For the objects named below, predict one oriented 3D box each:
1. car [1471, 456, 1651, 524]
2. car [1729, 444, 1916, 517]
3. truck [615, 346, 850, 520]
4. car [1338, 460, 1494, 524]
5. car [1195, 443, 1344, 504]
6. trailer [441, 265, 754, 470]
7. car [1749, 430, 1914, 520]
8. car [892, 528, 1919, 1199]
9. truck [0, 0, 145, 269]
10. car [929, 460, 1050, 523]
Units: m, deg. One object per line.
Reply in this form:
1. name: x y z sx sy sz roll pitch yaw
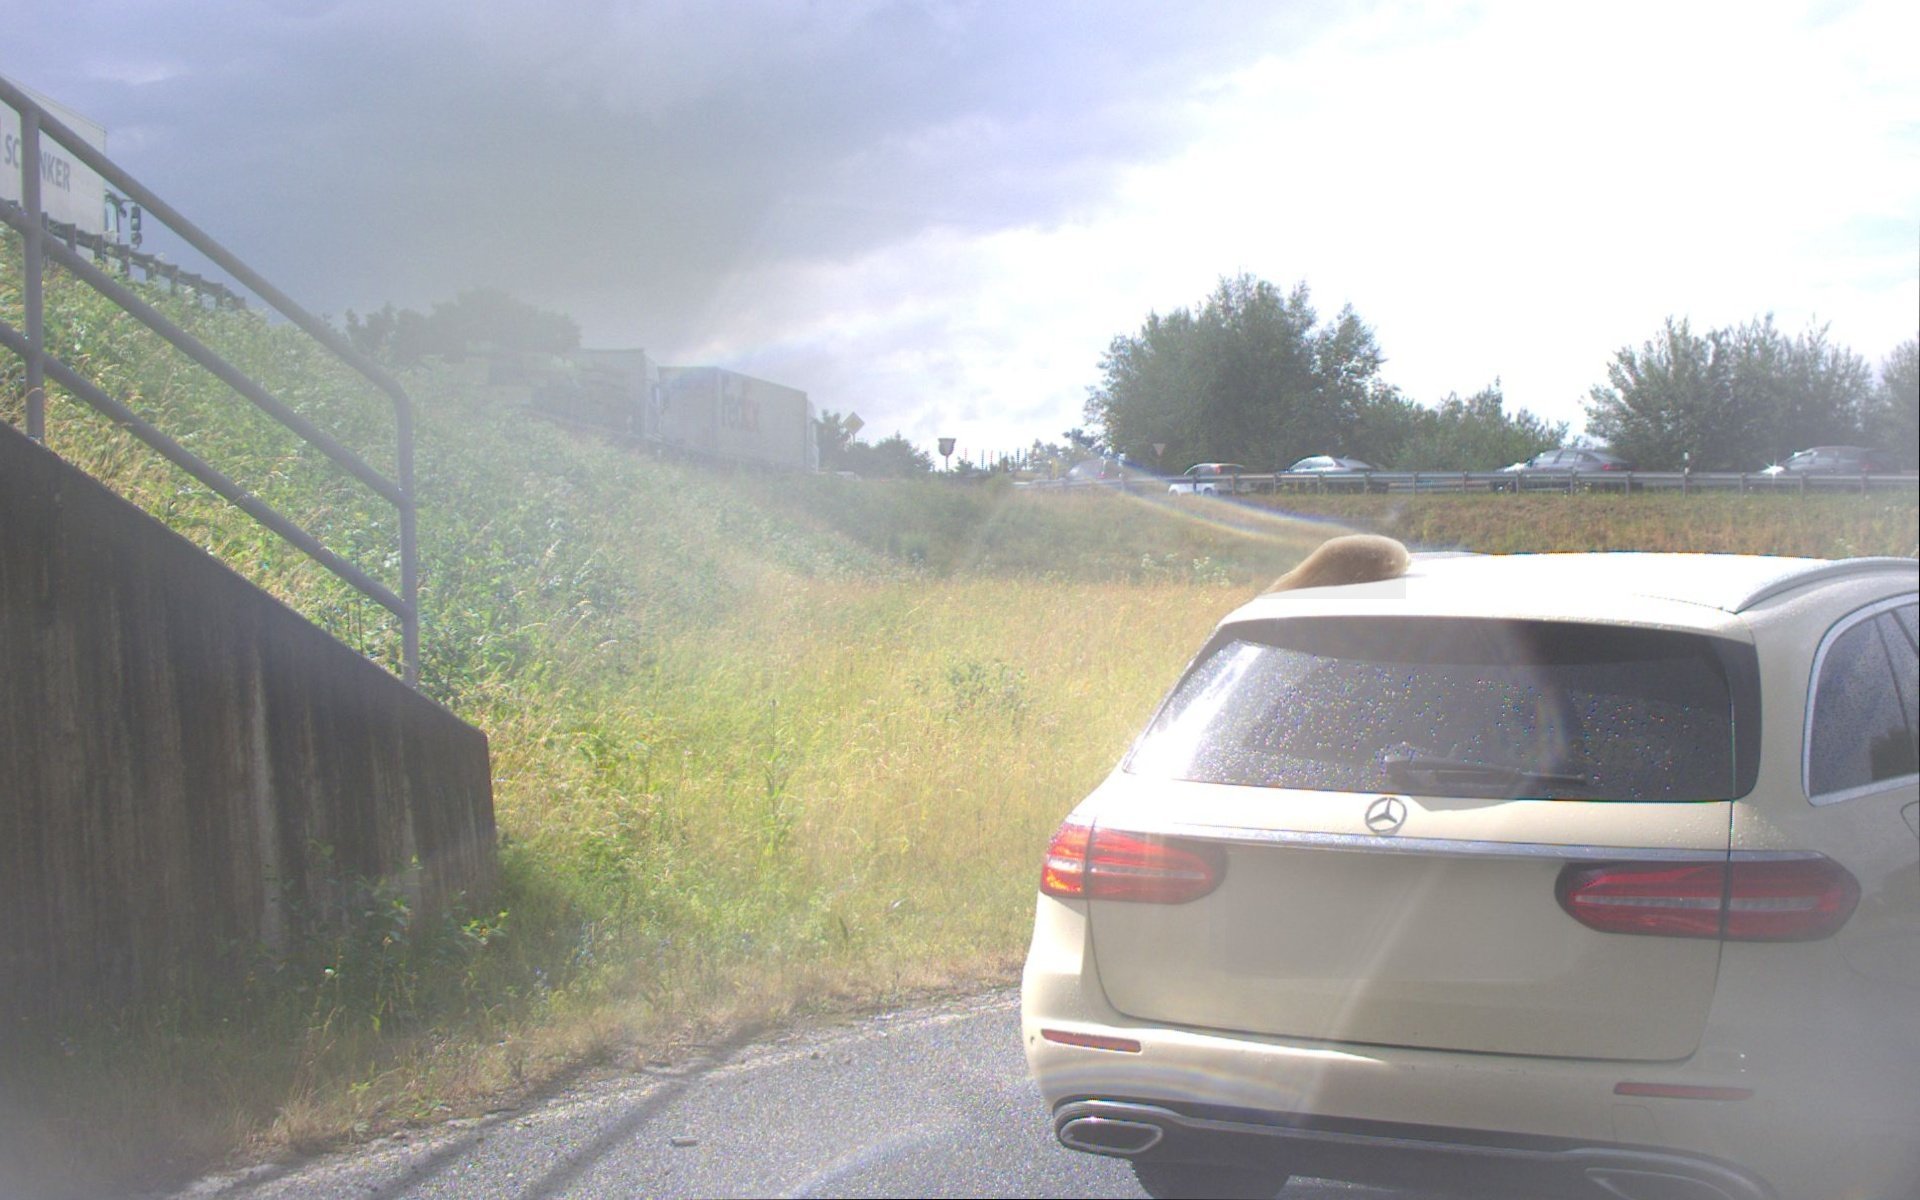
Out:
1. car: 18.305 -3.330 104.837 5.052 1.855 1.995 -2 0 41
2. car: 24.951 -3.434 99.593 1.994 1.855 5.055 -1 0 -39
3. truck: -7.477 -5.476 117.853 4.461 4.488 19.369 0 -2 7
4. car: 14.653 -3.451 110.538 4.504 1.855 1.996 -2 0 33
5. car: 10.596 -4.331 117.996 1.994 1.855 5.055 -1 0 -41
6. trailer: -9.930 -6.363 98.416 4.414 3.943 20.211 0 -2 7
7. car: 25.041 -3.570 98.806 3.996 2.007 1.995 -7 -7 41
8. car: 1.798 0.588 8.276 1.919 1.502 4.589 1 1 28
9. truck: -15.027 -7.480 51.325 3.180 3.953 9.235 0 -2 2
10. car: 0.995 -3.613 114.916 3.987 2.007 1.826 0 -2 2
